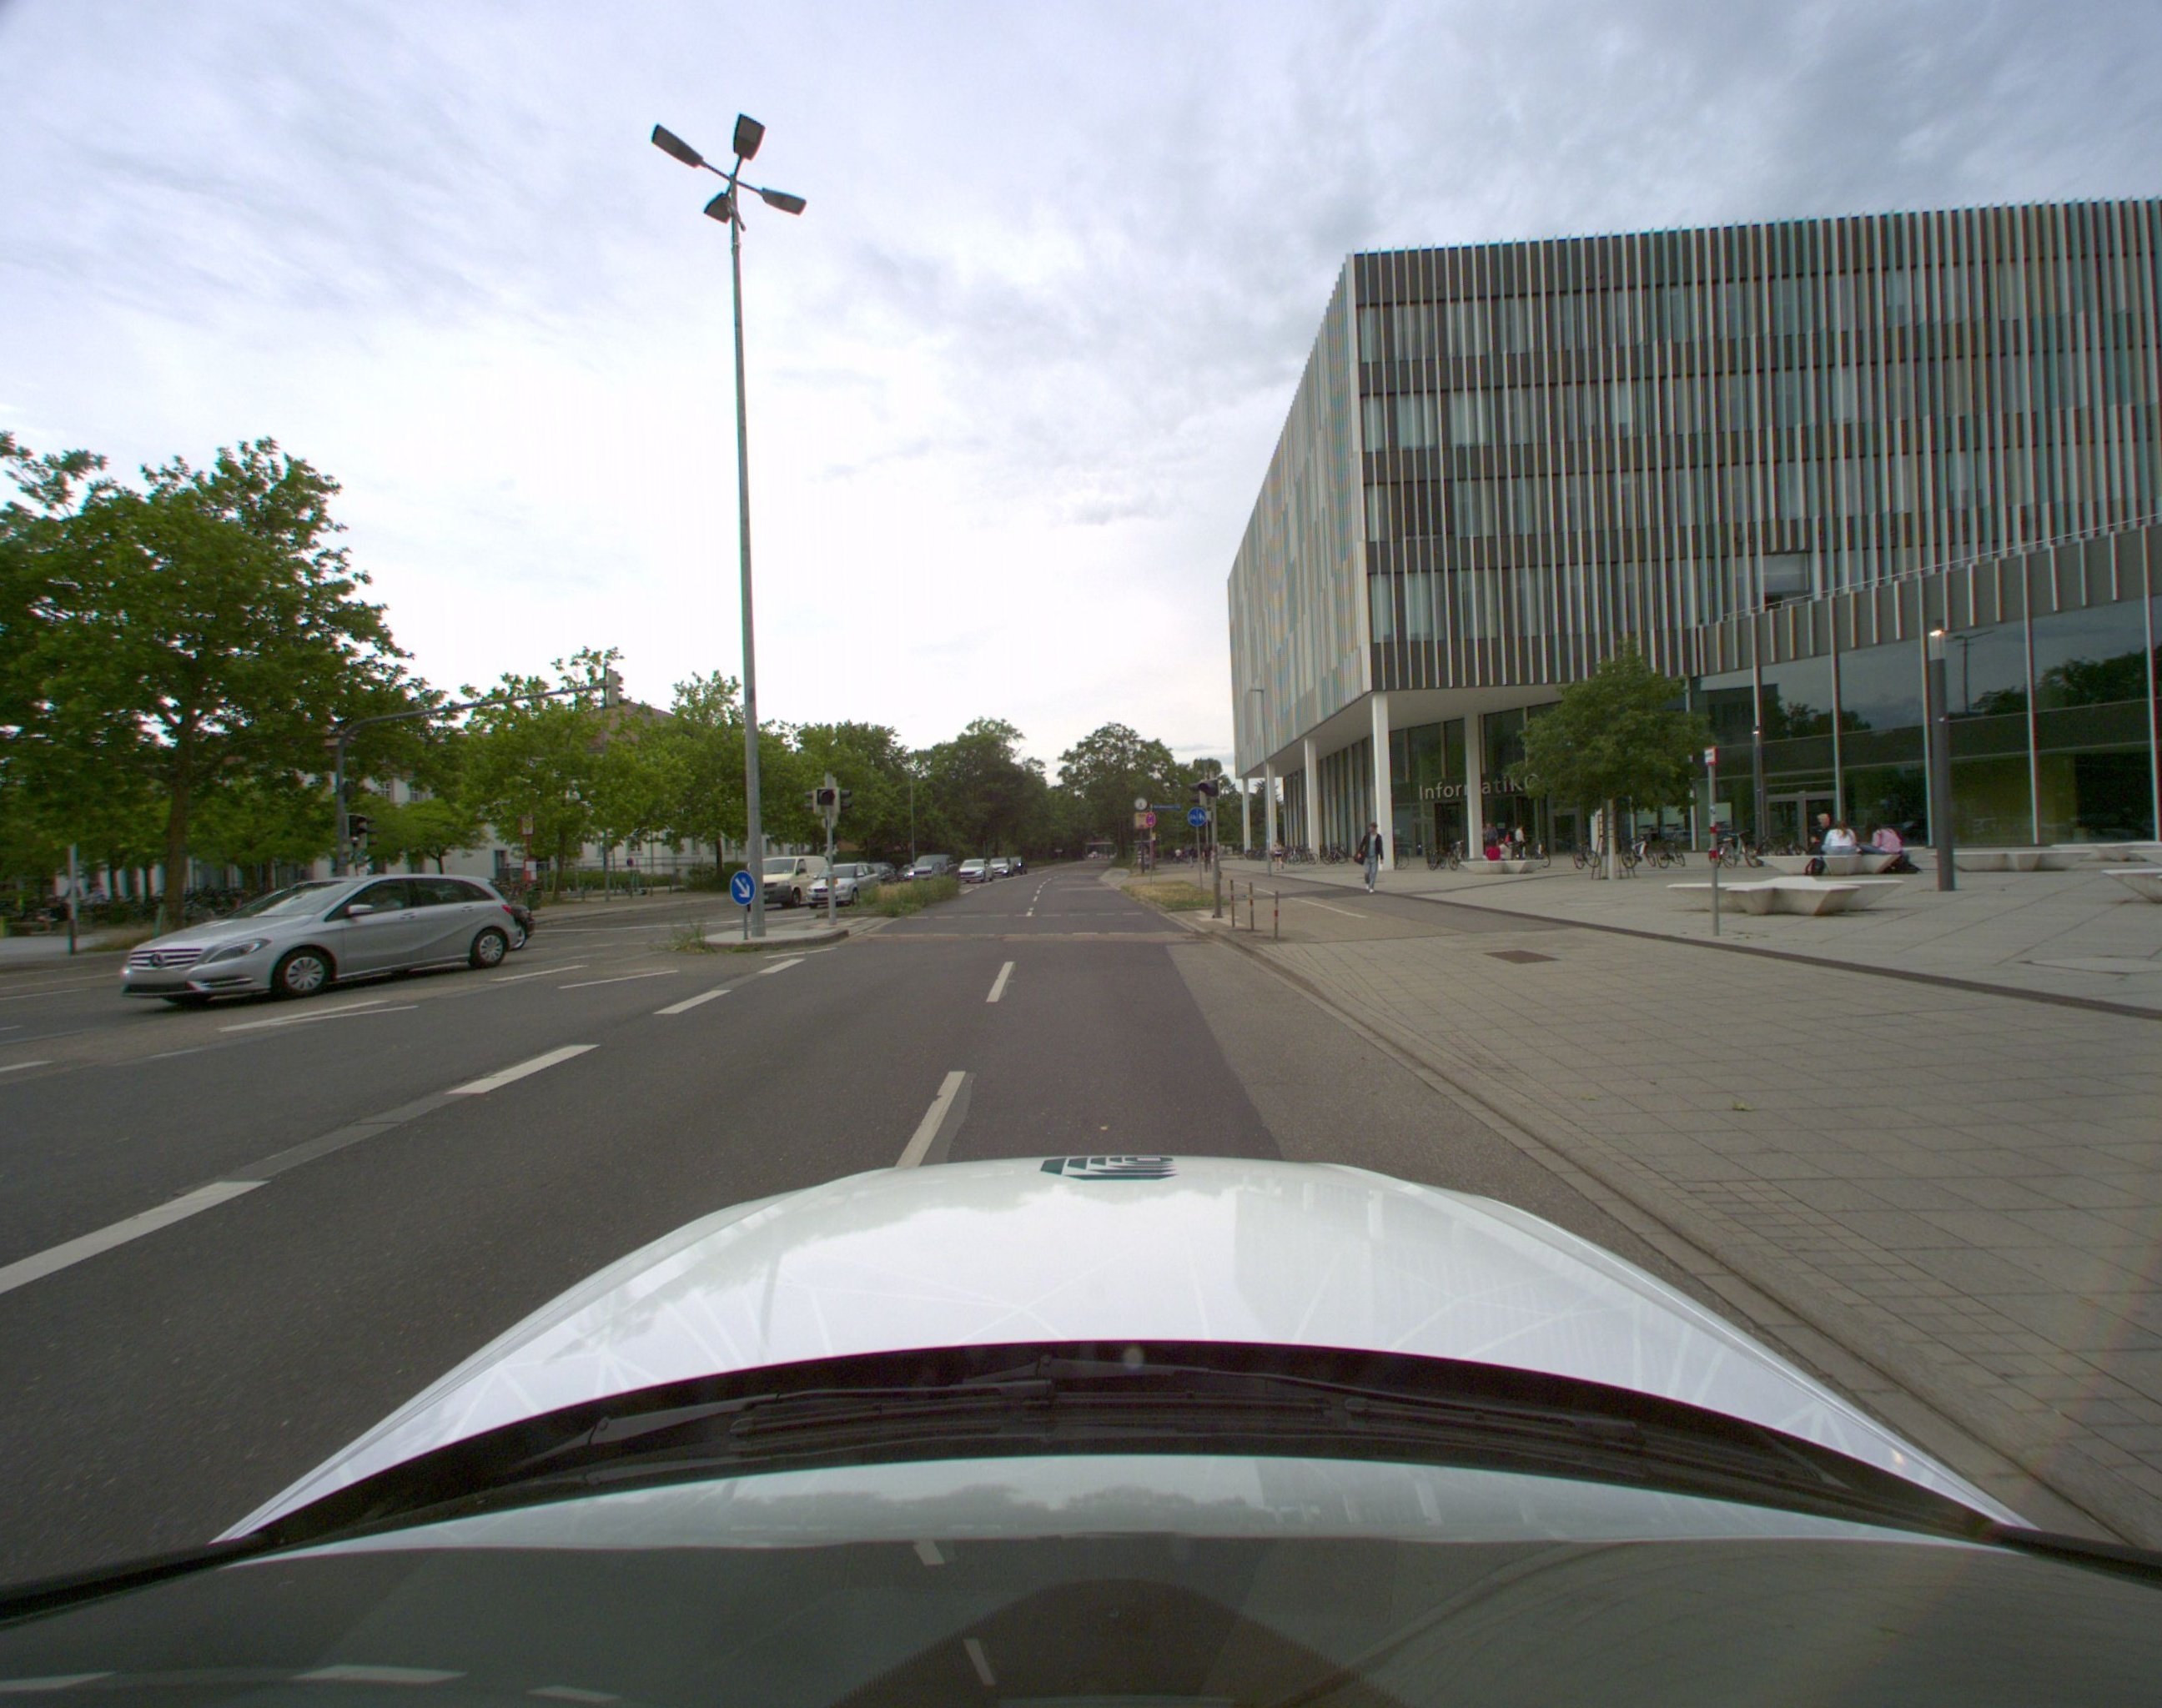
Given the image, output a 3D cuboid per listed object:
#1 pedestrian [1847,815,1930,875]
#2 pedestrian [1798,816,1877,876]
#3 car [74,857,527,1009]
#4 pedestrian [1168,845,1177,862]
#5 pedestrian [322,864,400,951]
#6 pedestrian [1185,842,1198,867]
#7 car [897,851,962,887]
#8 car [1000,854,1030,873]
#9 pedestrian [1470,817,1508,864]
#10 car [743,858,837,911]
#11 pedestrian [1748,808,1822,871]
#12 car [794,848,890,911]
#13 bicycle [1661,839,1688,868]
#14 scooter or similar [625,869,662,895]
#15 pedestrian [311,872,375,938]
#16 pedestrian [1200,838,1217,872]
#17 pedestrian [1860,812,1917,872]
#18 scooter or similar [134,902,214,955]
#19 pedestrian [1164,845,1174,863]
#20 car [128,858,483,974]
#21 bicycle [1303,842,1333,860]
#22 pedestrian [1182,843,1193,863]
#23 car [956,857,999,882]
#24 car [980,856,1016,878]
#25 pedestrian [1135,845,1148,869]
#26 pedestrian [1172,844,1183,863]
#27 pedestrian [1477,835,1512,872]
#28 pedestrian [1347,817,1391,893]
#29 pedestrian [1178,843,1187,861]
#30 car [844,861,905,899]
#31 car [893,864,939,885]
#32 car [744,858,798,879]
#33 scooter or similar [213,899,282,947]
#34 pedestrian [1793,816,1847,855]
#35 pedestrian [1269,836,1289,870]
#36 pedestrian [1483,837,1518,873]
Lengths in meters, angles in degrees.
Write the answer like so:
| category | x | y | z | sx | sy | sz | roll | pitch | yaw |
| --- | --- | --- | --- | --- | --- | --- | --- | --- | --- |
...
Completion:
| category | x | y | z | sx | sy | sz | roll | pitch | yaw |
| --- | --- | --- | --- | --- | --- | --- | --- | --- | --- |
| pedestrian | 17.352 | -0.184 | 17.524 | 0.904 | 1.257 | 0.880 | -1 | 0 | 6 |
| pedestrian | 16.193 | -0.171 | 17.458 | 0.904 | 1.257 | 0.880 | -1 | 0 | 6 |
| car | -10.529 | 0.934 | 11.567 | 1.946 | 1.584 | 4.266 | -3 | 1 | 8 |
| pedestrian | 10.669 | -0.046 | 95.033 | 0.821 | 2.013 | 0.720 | -3 | 0 | -1 |
| pedestrian | -17.447 | 1.274 | 19.755 | 0.890 | 2.013 | 1.010 | -3 | 0 | 1 |
| pedestrian | 9.082 | 0.014 | 66.831 | 0.839 | 2.013 | 0.895 | -3 | 0 | 1 |
| car | -7.654 | 0.724 | 41.586 | 1.984 | 1.687 | 4.954 | -1 | 0 | 5 |
| car | -5.727 | 0.804 | 71.063 | 1.895 | 1.593 | 4.520 | -3 | 0 | 3 |
| pedestrian | 18.267 | -0.583 | 36.512 | 1.175 | 2.062 | 1.137 | -1 | 0 | 5 |
| car | -10.964 | 1.091 | 31.001 | 1.764 | 1.848 | 4.492 | -1 | 0 | 3 |
| pedestrian | 15.847 | -0.321 | 18.353 | 0.908 | 1.367 | 0.877 | -1 | 0 | -7 |
| car | -8.486 | 0.856 | 29.328 | 1.985 | 2.013 | 4.003 | -3 | 0 | 3 |
| bicycle | 20.093 | -0.029 | 27.544 | 1.481 | 0.899 | 0.389 | -3 | 0 | -41 |
| scooter or similar | -22.749 | 1.453 | 42.325 | 1.568 | 1.244 | 0.567 | -3 | 0 | 3 |
| pedestrian | -21.332 | 1.447 | 23.552 | 0.892 | 1.803 | 0.935 | -3 | 0 | 0 |
| pedestrian | 7.681 | 0.064 | 49.137 | 0.838 | 2.013 | 0.895 | -4 | 0 | 5 |
| pedestrian | 17.604 | -0.266 | 17.772 | 0.641 | 1.278 | 0.648 | -1 | 0 | 16 |
| scooter or similar | -21.949 | 1.791 | 19.742 | 0.358 | 1.140 | 1.321 | -3 | 0 | 3 |
| pedestrian | 10.275 | -0.033 | 95.060 | 0.923 | 2.013 | 1.039 | -3 | 0 | -1 |
| car | -13.084 | 0.942 | 14.157 | 1.981 | 1.619 | 4.011 | -3 | 0 | 10 |
| bicycle | 17.020 | -0.242 | 58.491 | 1.962 | 1.144 | 0.652 | -5 | 0 | 44 |
| pedestrian | 11.103 | -0.081 | 85.150 | 0.923 | 2.013 | 1.039 | -3 | 0 | -1 |
| car | -6.562 | 0.952 | 52.118 | 1.896 | 1.465 | 4.915 | -1 | 0 | 3 |
| car | -6.270 | 0.965 | 62.216 | 1.985 | 1.547 | 4.183 | -4 | 0 | 3 |
| pedestrian | 5.168 | 0.255 | 69.248 | 0.909 | 2.013 | 0.854 | -4 | 2 | 2 |
| pedestrian | 10.101 | -0.059 | 85.241 | 0.923 | 2.013 | 1.039 | -3 | 0 | -1 |
| pedestrian | 13.829 | -0.014 | 27.236 | 0.834 | 1.206 | 0.900 | -3 | 0 | 37 |
| pedestrian | 7.879 | 0.023 | 22.314 | 0.838 | 2.013 | 0.895 | -3 | 0 | 5 |
| pedestrian | 11.832 | -0.244 | 95.133 | 0.820 | 2.013 | 0.721 | -3 | 0 | 2 |
| car | -10.141 | 1.247 | 40.291 | 1.691 | 1.689 | 4.003 | -3 | 0 | 3 |
| car | -12.123 | 1.477 | 60.152 | 1.864 | 1.424 | 4.737 | 0 | 0 | 7 |
| car | -24.379 | 1.151 | 64.026 | 3.573 | 1.601 | 1.652 | -1 | 0 | 0 |
| scooter or similar | -21.826 | 1.785 | 21.361 | 0.358 | 1.140 | 1.321 | -3 | 0 | 3 |
| pedestrian | 16.907 | -0.413 | 18.650 | 0.629 | 0.823 | 0.737 | -3 | -1 | 19 |
| pedestrian | 10.879 | -0.052 | 44.767 | 0.839 | 1.836 | 0.894 | -3 | 0 | 1 |
| pedestrian | 14.313 | 0.026 | 27.812 | 0.884 | 1.193 | 0.849 | -3 | 0 | 17 |
